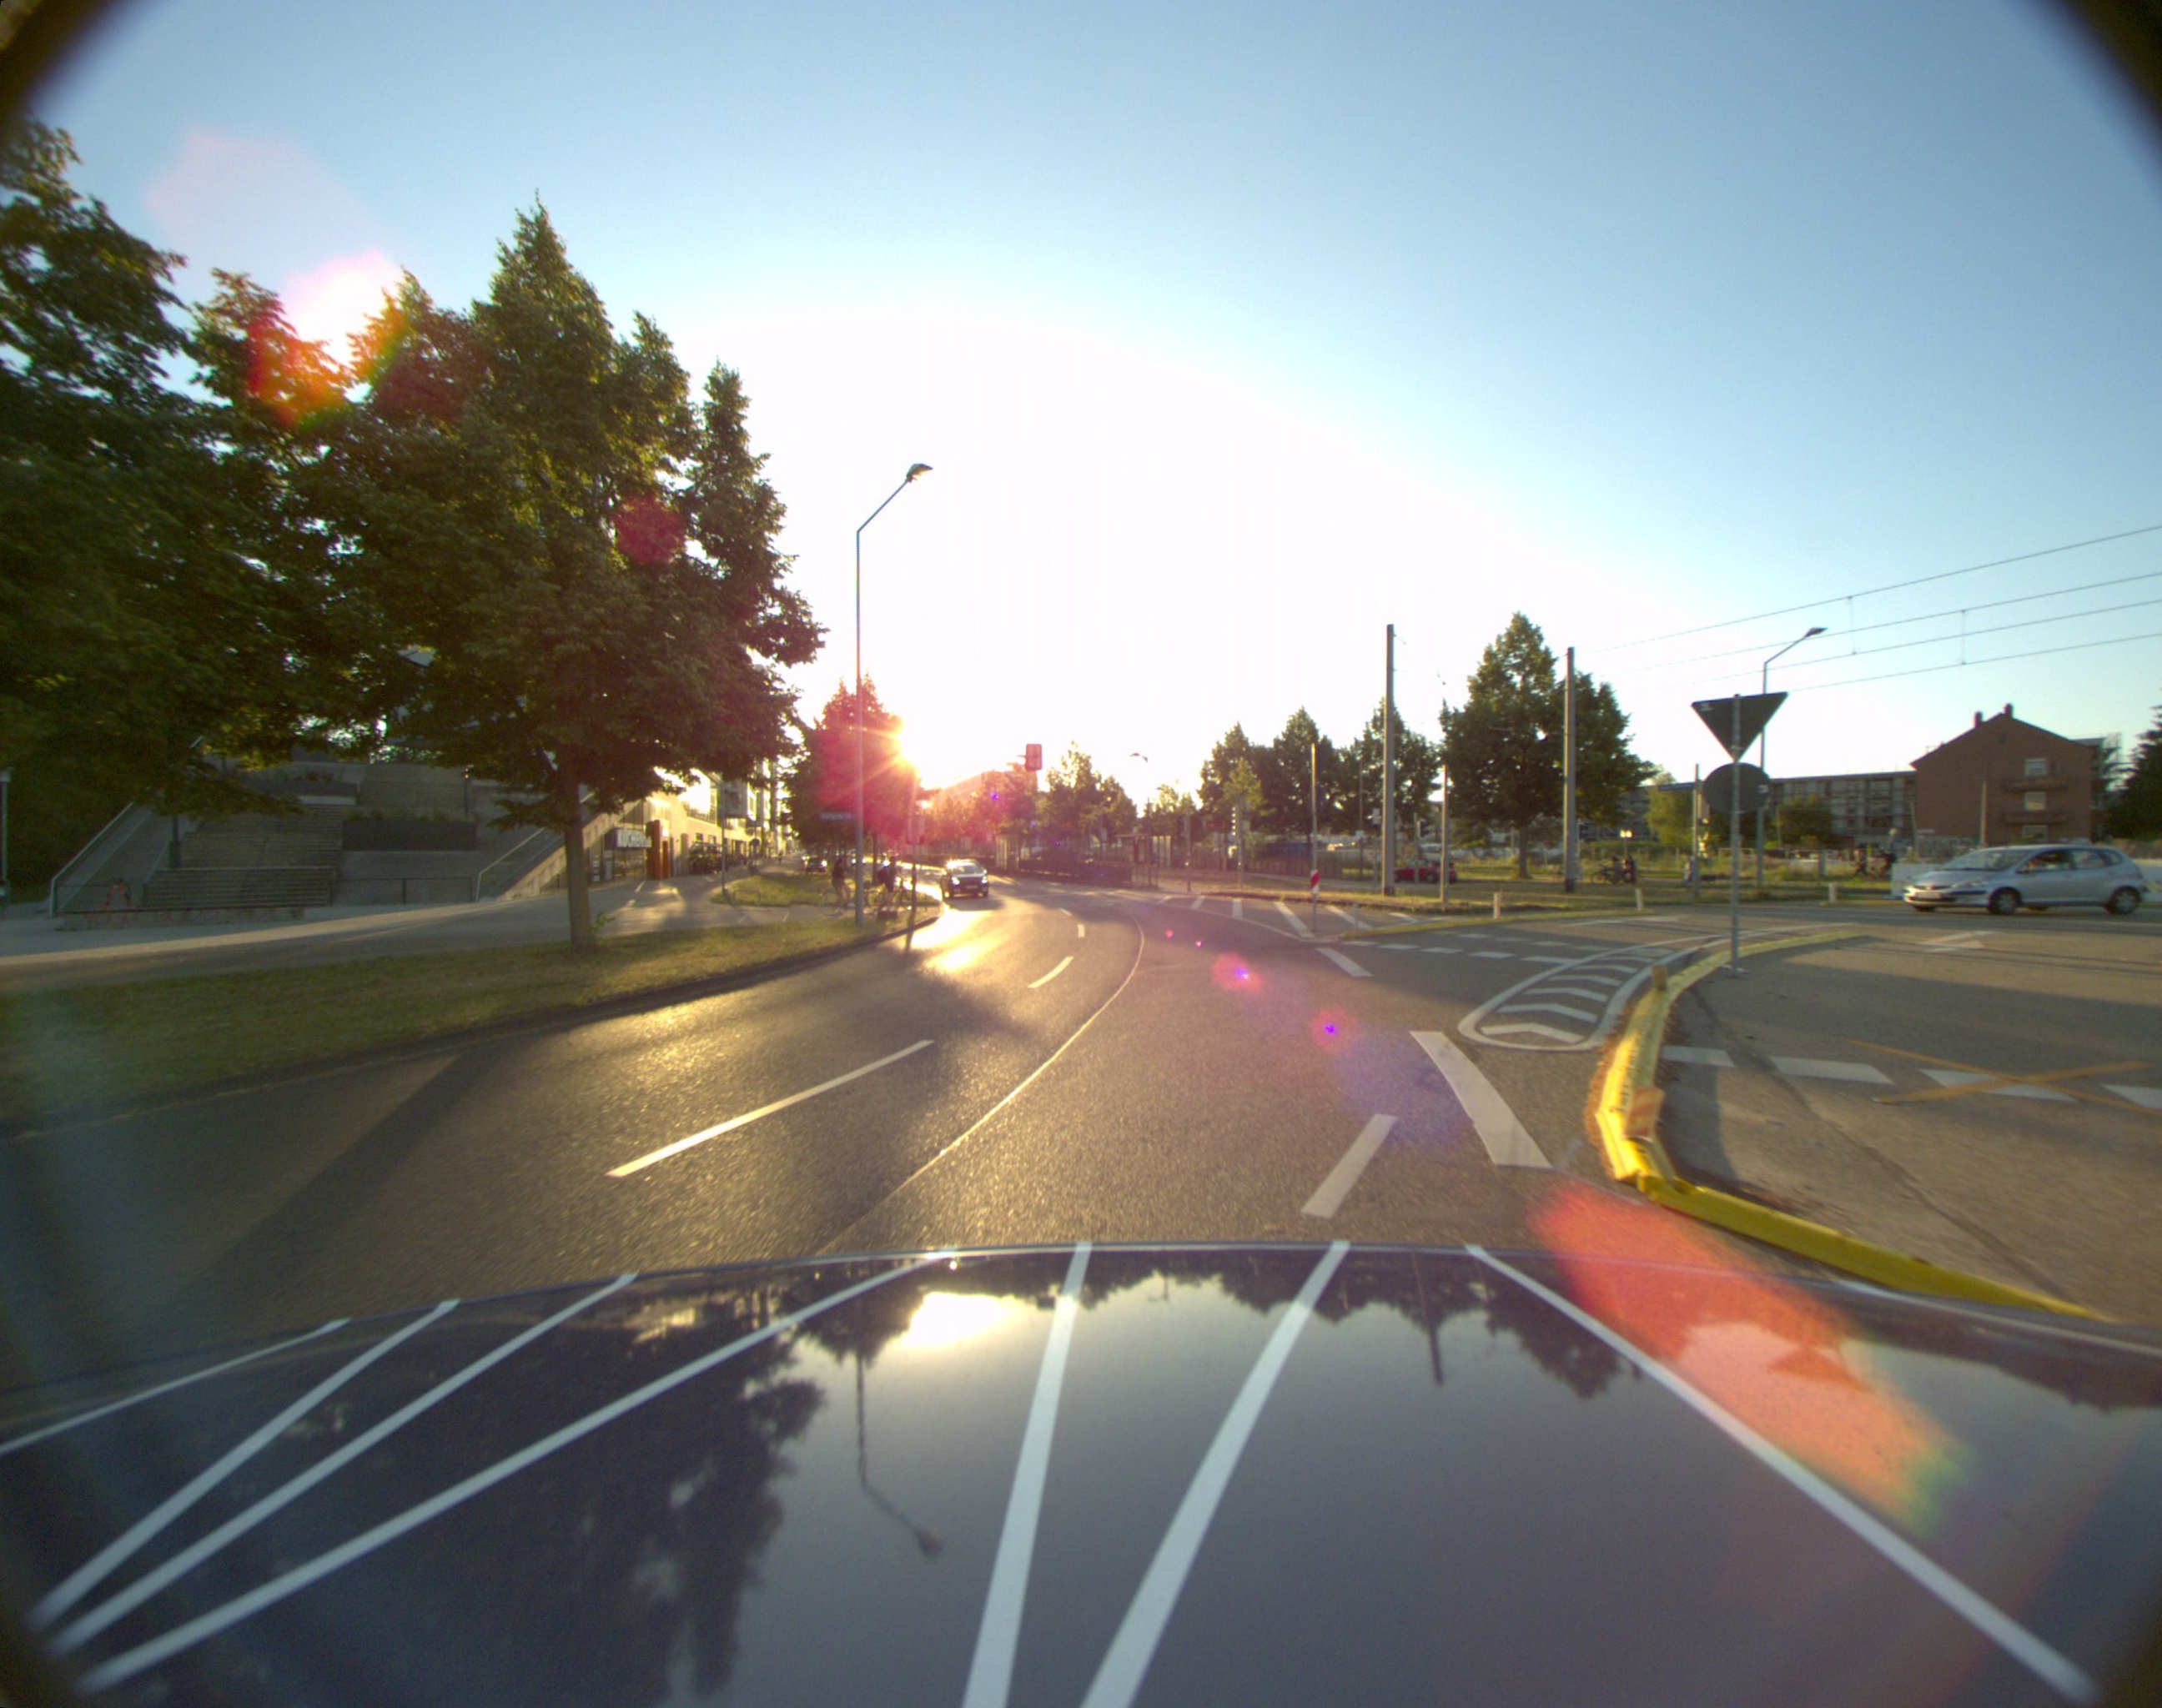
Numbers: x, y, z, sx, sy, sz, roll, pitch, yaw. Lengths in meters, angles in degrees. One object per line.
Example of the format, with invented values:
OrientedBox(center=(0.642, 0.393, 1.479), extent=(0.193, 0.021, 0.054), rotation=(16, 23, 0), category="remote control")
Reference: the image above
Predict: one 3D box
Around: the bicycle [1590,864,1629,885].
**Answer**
OrientedBox(center=(25.821, 0.973, 37.123), extent=(1.845, 0.975, 0.549), rotation=(-1, 1, -17), category="bicycle")

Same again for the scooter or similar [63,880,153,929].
OrientedBox(center=(-25.281, 1.310, 19.756), extent=(1.577, 1.213, 0.366), rotation=(-1, 1, -10), category="scooter or similar")

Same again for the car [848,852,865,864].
OrientedBox(center=(-29.712, 0.569, 100.711), extent=(1.894, 1.472, 4.043), rotation=(-1, 1, -20), category="car")

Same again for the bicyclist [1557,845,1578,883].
OrientedBox(center=(24.553, 0.490, 38.342), extent=(0.678, 1.907, 0.614), rotation=(-1, 1, -17), category="bicyclist")

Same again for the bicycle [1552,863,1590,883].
OrientedBox(center=(24.770, 0.964, 38.404), extent=(1.845, 0.975, 0.549), rotation=(-1, 1, -17), category="bicycle")

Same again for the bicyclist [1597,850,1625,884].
OrientedBox(center=(25.828, 0.607, 37.041), extent=(0.815, 1.631, 0.813), rotation=(-1, 1, -17), category="bicyclist")

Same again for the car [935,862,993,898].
OrientedBox(center=(-5.307, 1.110, 34.095), extent=(1.805, 1.455, 3.993), rotation=(-1, 1, -20), category="car")

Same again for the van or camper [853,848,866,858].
OrientedBox(center=(-43.793, -0.195, 149.996), extent=(2.002, 1.946, 5.318), rotation=(-1, 1, -21), category="van or camper")

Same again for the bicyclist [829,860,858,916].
OrientedBox(center=(-7.186, 1.009, 22.975), extent=(0.685, 1.638, 0.682), rotation=(-1, 1, -29), category="bicyclist")

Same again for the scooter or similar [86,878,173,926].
OrientedBox(center=(-25.320, 1.276, 20.232), extent=(1.577, 1.213, 0.366), rotation=(-1, 1, -10), category="scooter or similar")

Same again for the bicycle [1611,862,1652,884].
OrientedBox(center=(26.145, 0.884, 36.090), extent=(1.845, 0.975, 0.536), rotation=(-1, 1, -17), category="bicycle")

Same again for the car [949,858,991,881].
OrientedBox(center=(-7.332, 0.995, 49.892), extent=(1.805, 1.415, 4.441), rotation=(-1, 0, -20), category="car")

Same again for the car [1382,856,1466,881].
OrientedBox(center=(18.955, 0.773, 42.160), extent=(1.836, 1.324, 3.992), rotation=(-1, 0, -25), category="car")

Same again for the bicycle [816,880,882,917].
OrientedBox(center=(-6.990, 1.327, 22.973), extent=(1.866, 1.017, 0.307), rotation=(-1, 1, -30), category="bicycle")

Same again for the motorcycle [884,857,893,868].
OrientedBox(center=(-18.226, 0.795, 71.879), extent=(0.558, 1.094, 2.156), rotation=(-1, 1, -20), category="motorcycle")

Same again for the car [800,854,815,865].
OrientedBox(center=(-36.871, 0.720, 102.482), extent=(1.805, 1.455, 3.993), rotation=(-1, 1, -20), category="car")

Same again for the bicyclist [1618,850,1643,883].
OrientedBox(center=(26.057, 0.585, 36.048), extent=(0.815, 1.497, 0.592), rotation=(-1, 1, -17), category="bicyclist")

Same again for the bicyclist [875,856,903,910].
OrientedBox(center=(-6.328, 0.952, 25.100), extent=(0.849, 1.745, 0.803), rotation=(-1, 1, -13), category="bicyclist")

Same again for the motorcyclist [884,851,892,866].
OrientedBox(center=(-18.292, 0.411, 72.025), extent=(0.637, 1.400, 0.593), rotation=(-1, 2, -19), category="motorcyclist")

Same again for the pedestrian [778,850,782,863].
OrientedBox(center=(-47.524, 0.436, 120.122), extent=(0.539, 2.002, 0.526), rotation=(-1, 1, -21), category="pedestrian")

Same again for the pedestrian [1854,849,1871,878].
OrientedBox(center=(37.585, 0.442, 36.538), extent=(0.502, 1.358, 0.435), rotation=(0, 1, 39), category="pedestrian")

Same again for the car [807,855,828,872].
OrientedBox(center=(-25.166, 0.882, 72.464), extent=(1.805, 1.455, 3.993), rotation=(-1, 1, -20), category="car")

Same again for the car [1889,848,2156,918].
OrientedBox(center=(20.746, 0.618, 16.883), extent=(3.706, 1.457, 1.607), rotation=(-1, 0, 5), category="car")

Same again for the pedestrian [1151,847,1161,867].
OrientedBox(center=(6.186, 0.270, 62.447), extent=(0.709, 1.623, 0.445), rotation=(-1, 1, -22), category="pedestrian")

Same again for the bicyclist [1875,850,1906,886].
OrientedBox(center=(36.880, 0.615, 34.642), extent=(0.796, 1.624, 0.697), rotation=(0, 1, 29), category="bicyclist")

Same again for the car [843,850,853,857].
OrientedBox(center=(-55.545, -0.060, 181.238), extent=(1.896, 1.613, 3.992), rotation=(-1, 1, -23), category="car")

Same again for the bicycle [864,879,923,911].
OrientedBox(center=(-6.237, 1.354, 25.328), extent=(1.864, 1.017, 0.437), rotation=(-1, 1, -13), category="bicycle")

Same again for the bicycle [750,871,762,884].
OrientedBox(center=(-22.795, 1.652, 53.338), extent=(0.551, 0.846, 2.640), rotation=(-1, 0, -18), category="bicycle")

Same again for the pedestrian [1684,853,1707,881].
OrientedBox(center=(30.905, 0.652, 38.220), extent=(0.619, 1.358, 0.694), rotation=(-1, 1, -17), category="pedestrian")

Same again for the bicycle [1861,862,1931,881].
OrientedBox(center=(37.100, 0.793, 34.608), extent=(2.130, 0.841, 0.513), rotation=(0, 1, 29), category="bicycle")
